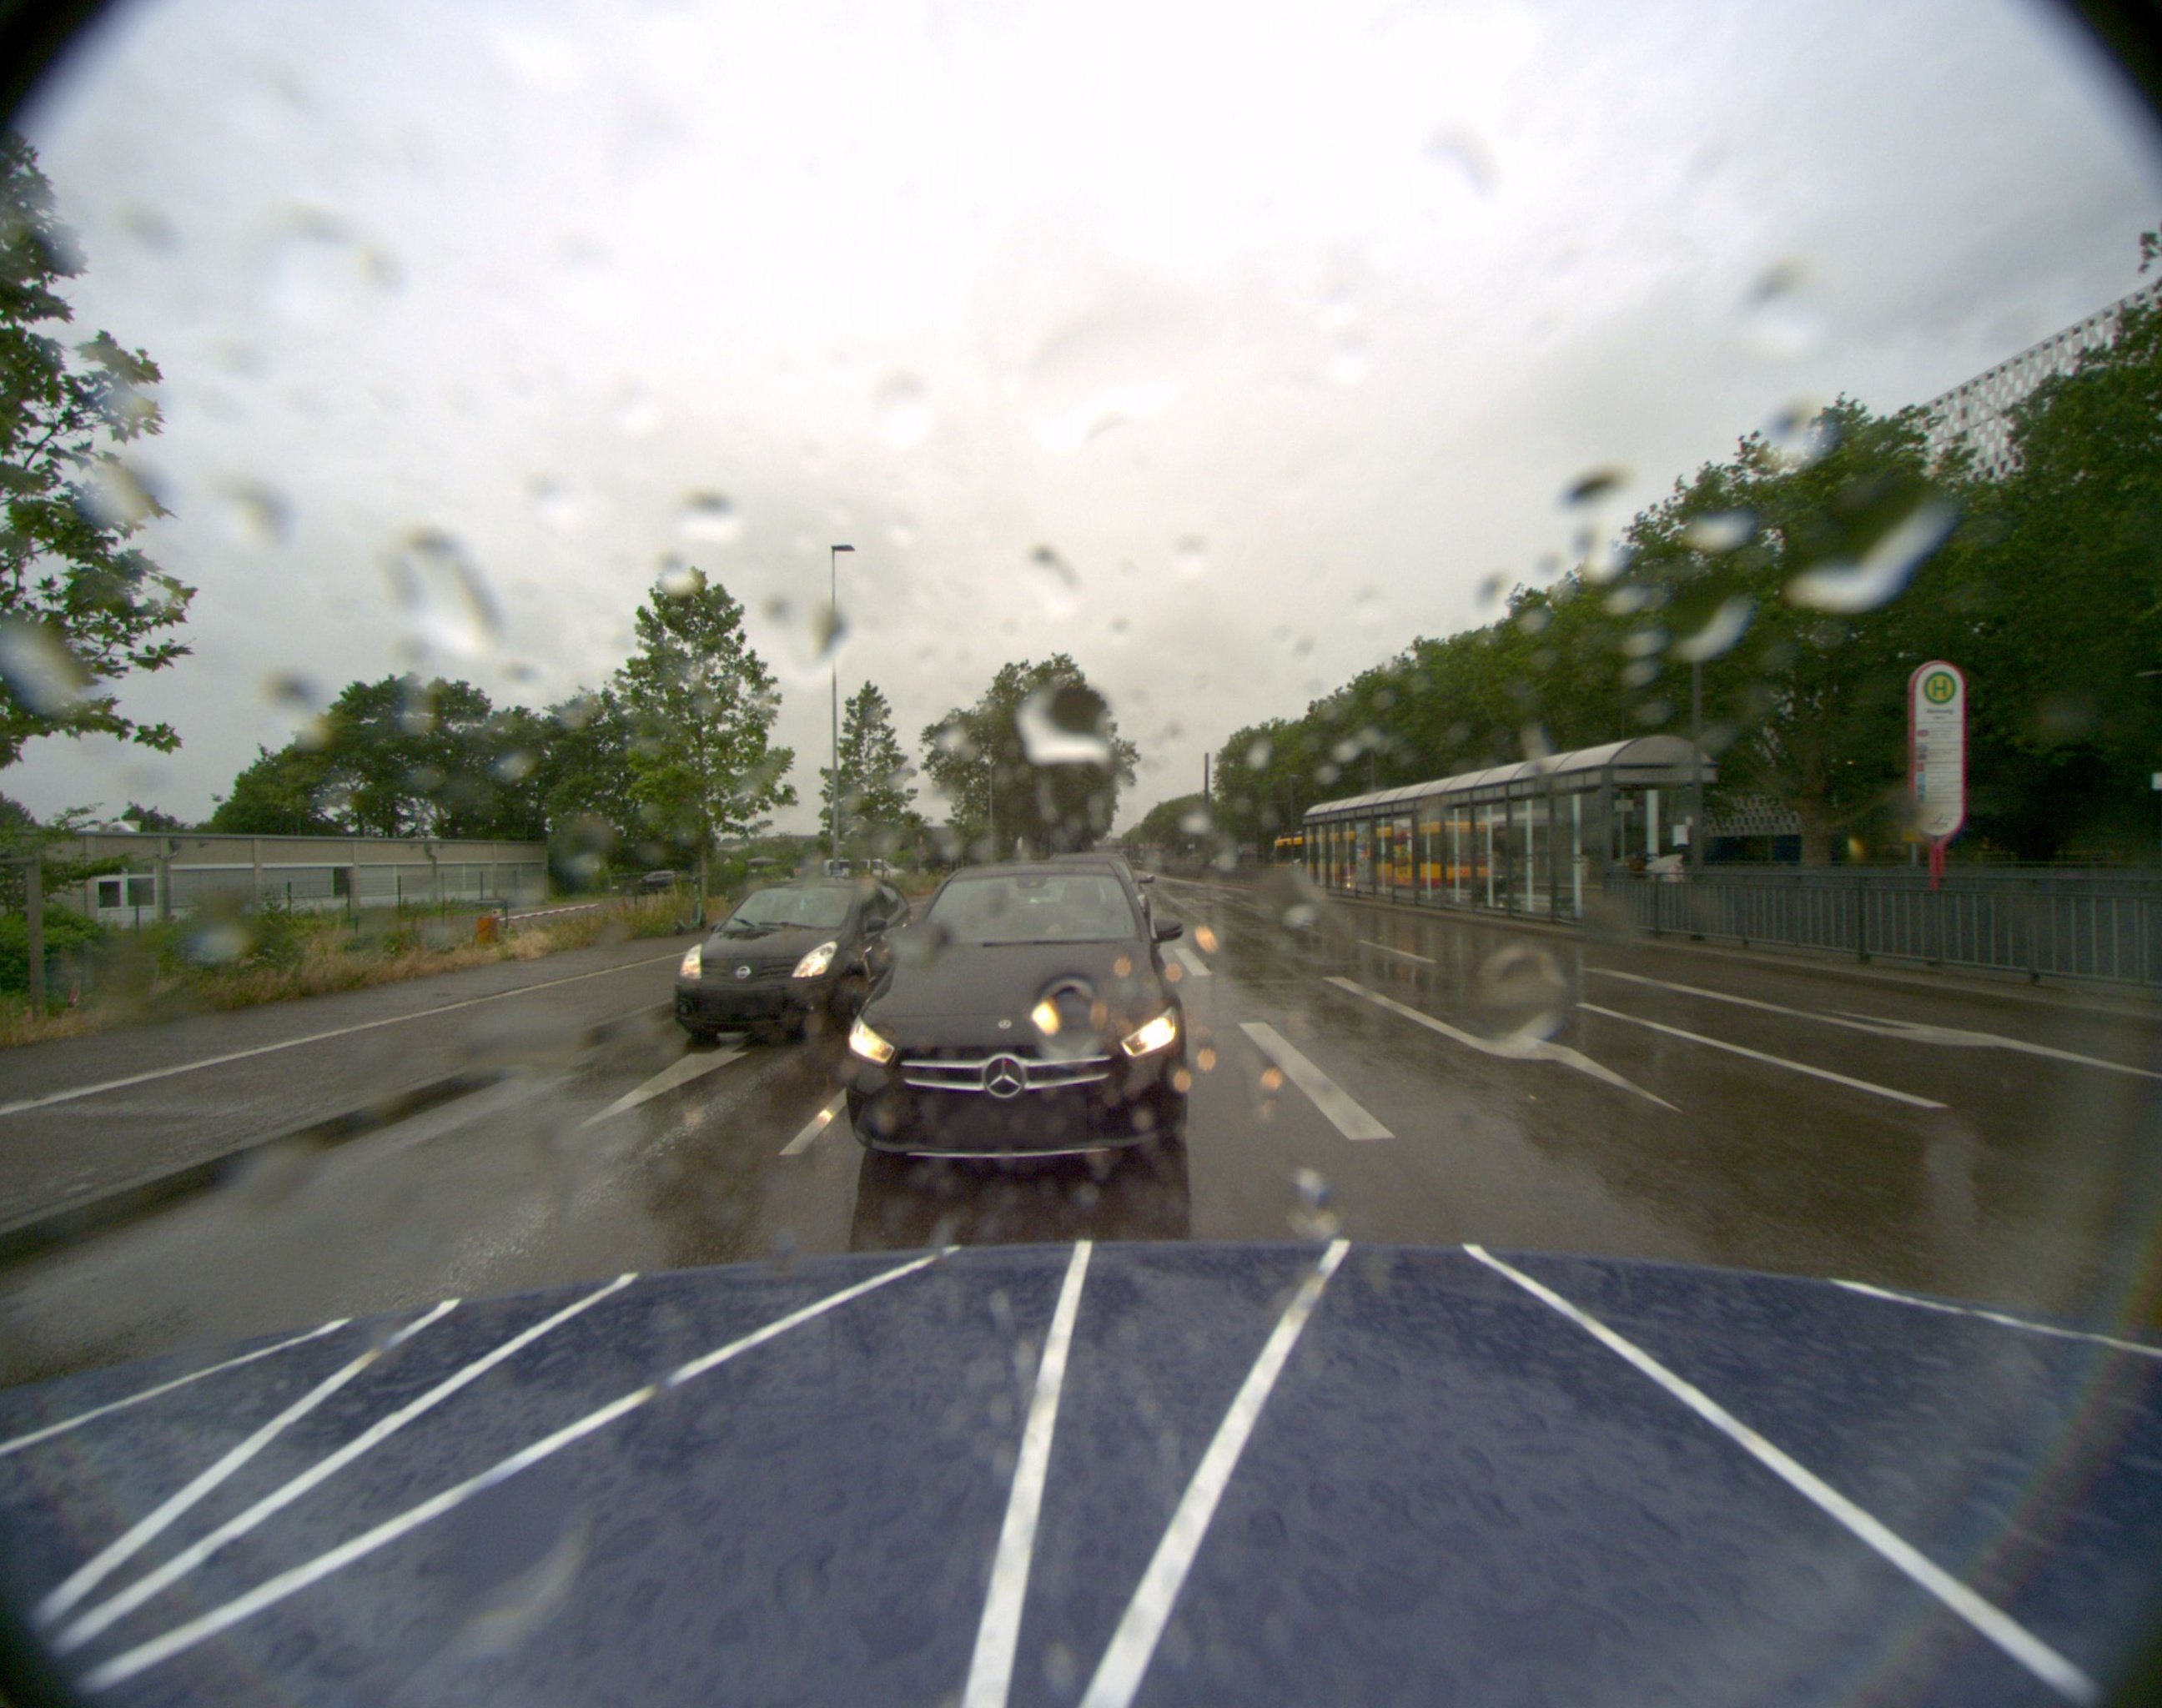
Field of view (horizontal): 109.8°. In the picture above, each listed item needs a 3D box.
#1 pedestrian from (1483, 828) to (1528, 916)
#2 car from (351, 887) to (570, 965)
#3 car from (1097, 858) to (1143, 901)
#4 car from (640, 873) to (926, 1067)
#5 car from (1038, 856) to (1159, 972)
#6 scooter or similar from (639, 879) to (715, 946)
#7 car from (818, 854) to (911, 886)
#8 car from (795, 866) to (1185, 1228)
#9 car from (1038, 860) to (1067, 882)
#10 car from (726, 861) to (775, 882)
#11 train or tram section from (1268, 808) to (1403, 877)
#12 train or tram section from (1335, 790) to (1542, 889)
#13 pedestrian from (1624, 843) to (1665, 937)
[{"bbox_3d":[9.318,0.385,16.691,0.655,1.860,0.773,-2,1,17],"label":"pedestrian"},{"bbox_3d":[-12.024,1.377,14.812,3.243,1.281,1.345,-3,1,6],"label":"car"},{"bbox_3d":[1.506,0.976,30.432,1.557,1.541,3.717,-3,0,0],"label":"car"},{"bbox_3d":[-2.865,1.024,8.175,1.557,1.500,3.618,-2,0,1],"label":"car"},{"bbox_3d":[0.309,0.862,12.769,1.689,1.611,4.000,-1,0,2],"label":"car"},{"bbox_3d":[-8.186,1.157,15.471,0.367,1.192,1.913,-2,1,4],"label":"scooter or similar"},{"bbox_3d":[-13.631,1.004,48.068,5.174,1.715,2.006,-3,1,-1],"label":"car"},{"bbox_3d":[-0.209,0.921,5.543,1.758,1.572,4.171,-2,0,6],"label":"car"},{"bbox_3d":[-1.769,1.051,48.166,1.617,1.301,3.717,-3,0,1],"label":"car"},{"bbox_3d":[-28.225,1.481,65.008,3.552,1.574,1.345,-3,1,6],"label":"car"},{"bbox_3d":[16.623,-0.720,51.672,3.751,3.777,15.569,-3,0,0],"label":"train or tram section"},{"bbox_3d":[16.622,-0.630,37.252,3.751,3.817,13.253,-3,0,0],"label":"train or tram section"},{"bbox_3d":[9.174,0.576,12.373,0.321,1.485,0.415,-3,2,6],"label":"pedestrian"}]
